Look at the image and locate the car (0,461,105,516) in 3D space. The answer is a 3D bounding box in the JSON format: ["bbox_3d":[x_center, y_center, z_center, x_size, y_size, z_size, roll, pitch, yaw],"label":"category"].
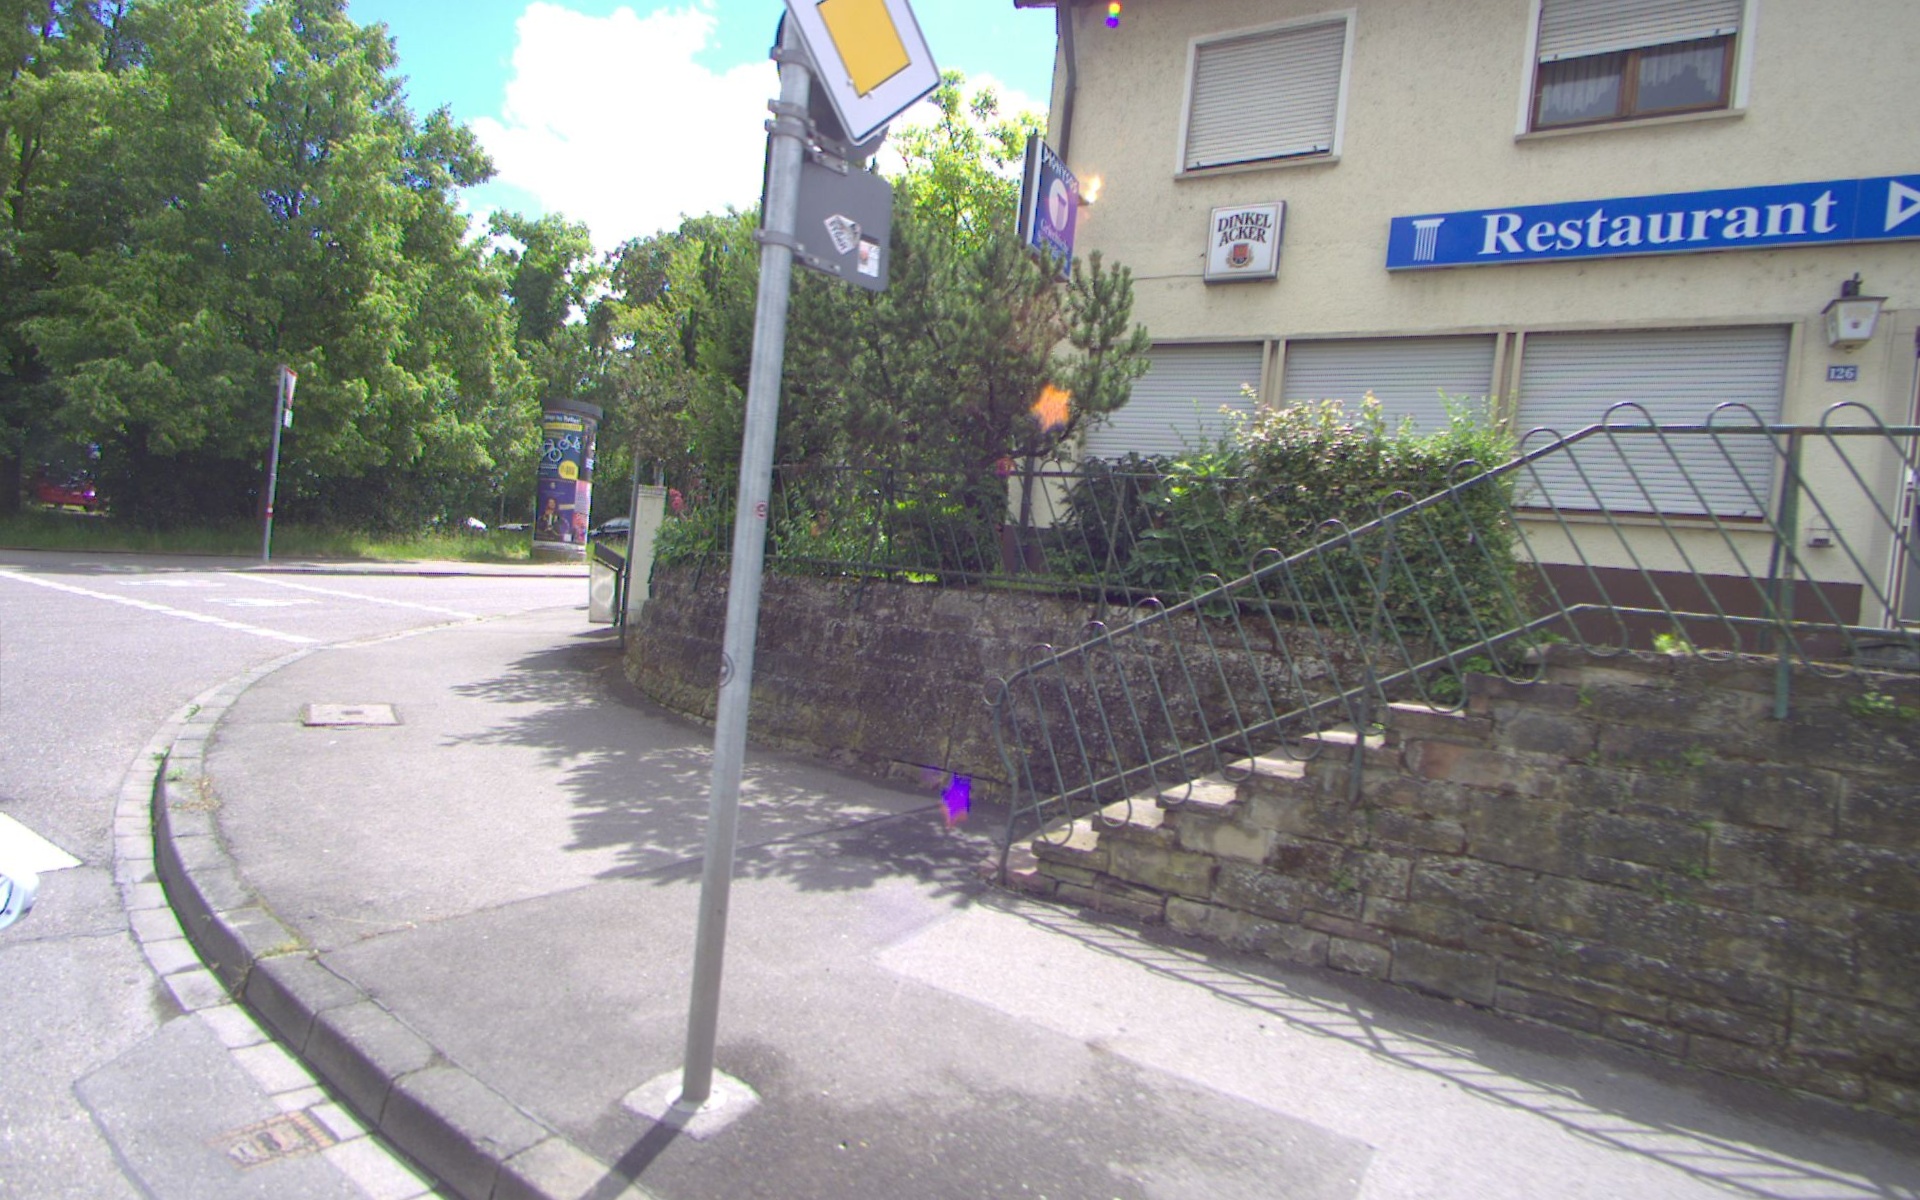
[{"bbox_3d":[-30.305,-3.726,33.559,3.602,1.521,1.661,6,2,31],"label":"car"}]

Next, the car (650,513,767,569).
[{"bbox_3d":[-8.920,-2.088,35.560,3.916,1.606,1.637,6,3,31],"label":"car"}]

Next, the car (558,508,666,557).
[{"bbox_3d":[-13.118,-2.534,37.829,3.916,1.489,1.637,6,3,31],"label":"car"}]
